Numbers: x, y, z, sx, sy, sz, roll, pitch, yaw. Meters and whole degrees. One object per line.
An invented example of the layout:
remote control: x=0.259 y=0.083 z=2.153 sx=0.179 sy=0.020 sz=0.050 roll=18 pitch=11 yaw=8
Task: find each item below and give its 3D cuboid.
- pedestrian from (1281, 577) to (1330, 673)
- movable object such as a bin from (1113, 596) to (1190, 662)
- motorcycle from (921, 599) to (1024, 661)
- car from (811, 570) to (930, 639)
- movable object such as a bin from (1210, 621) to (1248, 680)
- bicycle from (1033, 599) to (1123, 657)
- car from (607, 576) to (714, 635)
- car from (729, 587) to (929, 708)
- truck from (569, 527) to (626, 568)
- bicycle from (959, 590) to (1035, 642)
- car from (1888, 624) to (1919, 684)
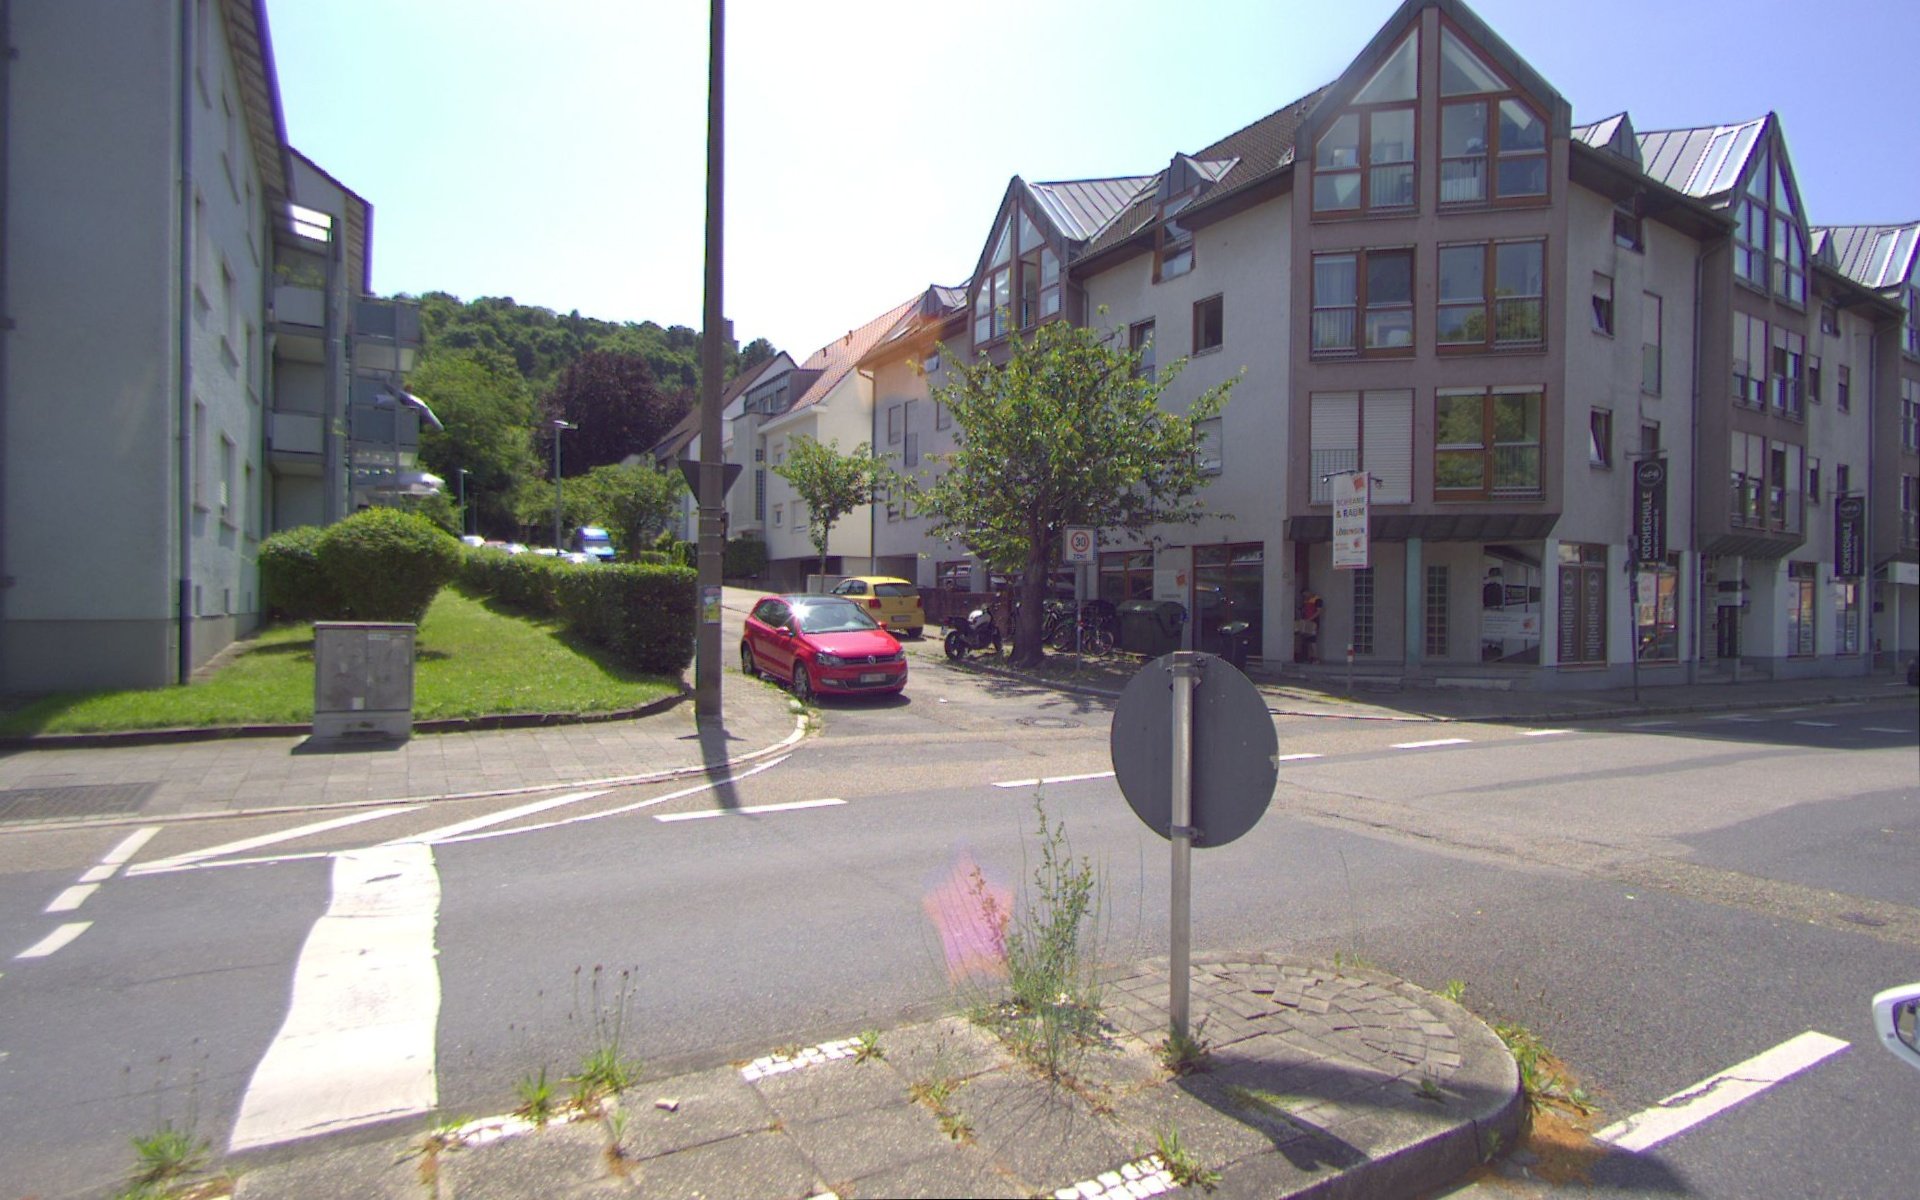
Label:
pedestrian: x=7.511 y=0.529 z=21.823 sx=0.831 sy=2.040 sz=0.593 roll=1 pitch=1 yaw=-38
movable object such as a bin: x=4.219 y=0.633 z=22.156 sx=1.076 sy=1.385 sz=1.265 roll=1 pitch=1 yaw=-35
motorcycle: x=0.301 y=0.603 z=21.453 sx=0.915 sy=1.049 sz=2.376 roll=5 pitch=6 yaw=40
car: x=-2.404 y=0.046 z=26.109 sx=1.636 sy=1.433 sz=3.759 roll=-2 pitch=6 yaw=-30
movable object such as a bin: x=5.243 y=0.973 z=19.570 sx=0.660 sy=1.111 sz=0.633 roll=1 pitch=-1 yaw=19
bicycle: x=2.643 y=0.606 z=22.705 sx=0.749 sy=1.251 sz=2.242 roll=1 pitch=-1 yaw=-34
car: x=-7.694 y=0.079 z=25.634 sx=1.713 sy=1.167 sz=3.758 roll=-2 pitch=5 yaw=-31
car: x=-2.229 y=0.633 z=16.126 sx=1.713 sy=1.471 sz=3.965 roll=0 pitch=4 yaw=-31
truck: x=-20.615 y=-2.997 z=56.954 sx=2.082 sy=2.063 sz=5.397 roll=1 pitch=3 yaw=-30
bicycle: x=0.900 y=0.403 z=25.273 sx=0.749 sy=1.251 sz=2.243 roll=1 pitch=-1 yaw=-33
car: x=26.320 y=1.448 z=26.066 sx=4.909 sy=1.467 sz=1.831 roll=2 pitch=2 yaw=-29
